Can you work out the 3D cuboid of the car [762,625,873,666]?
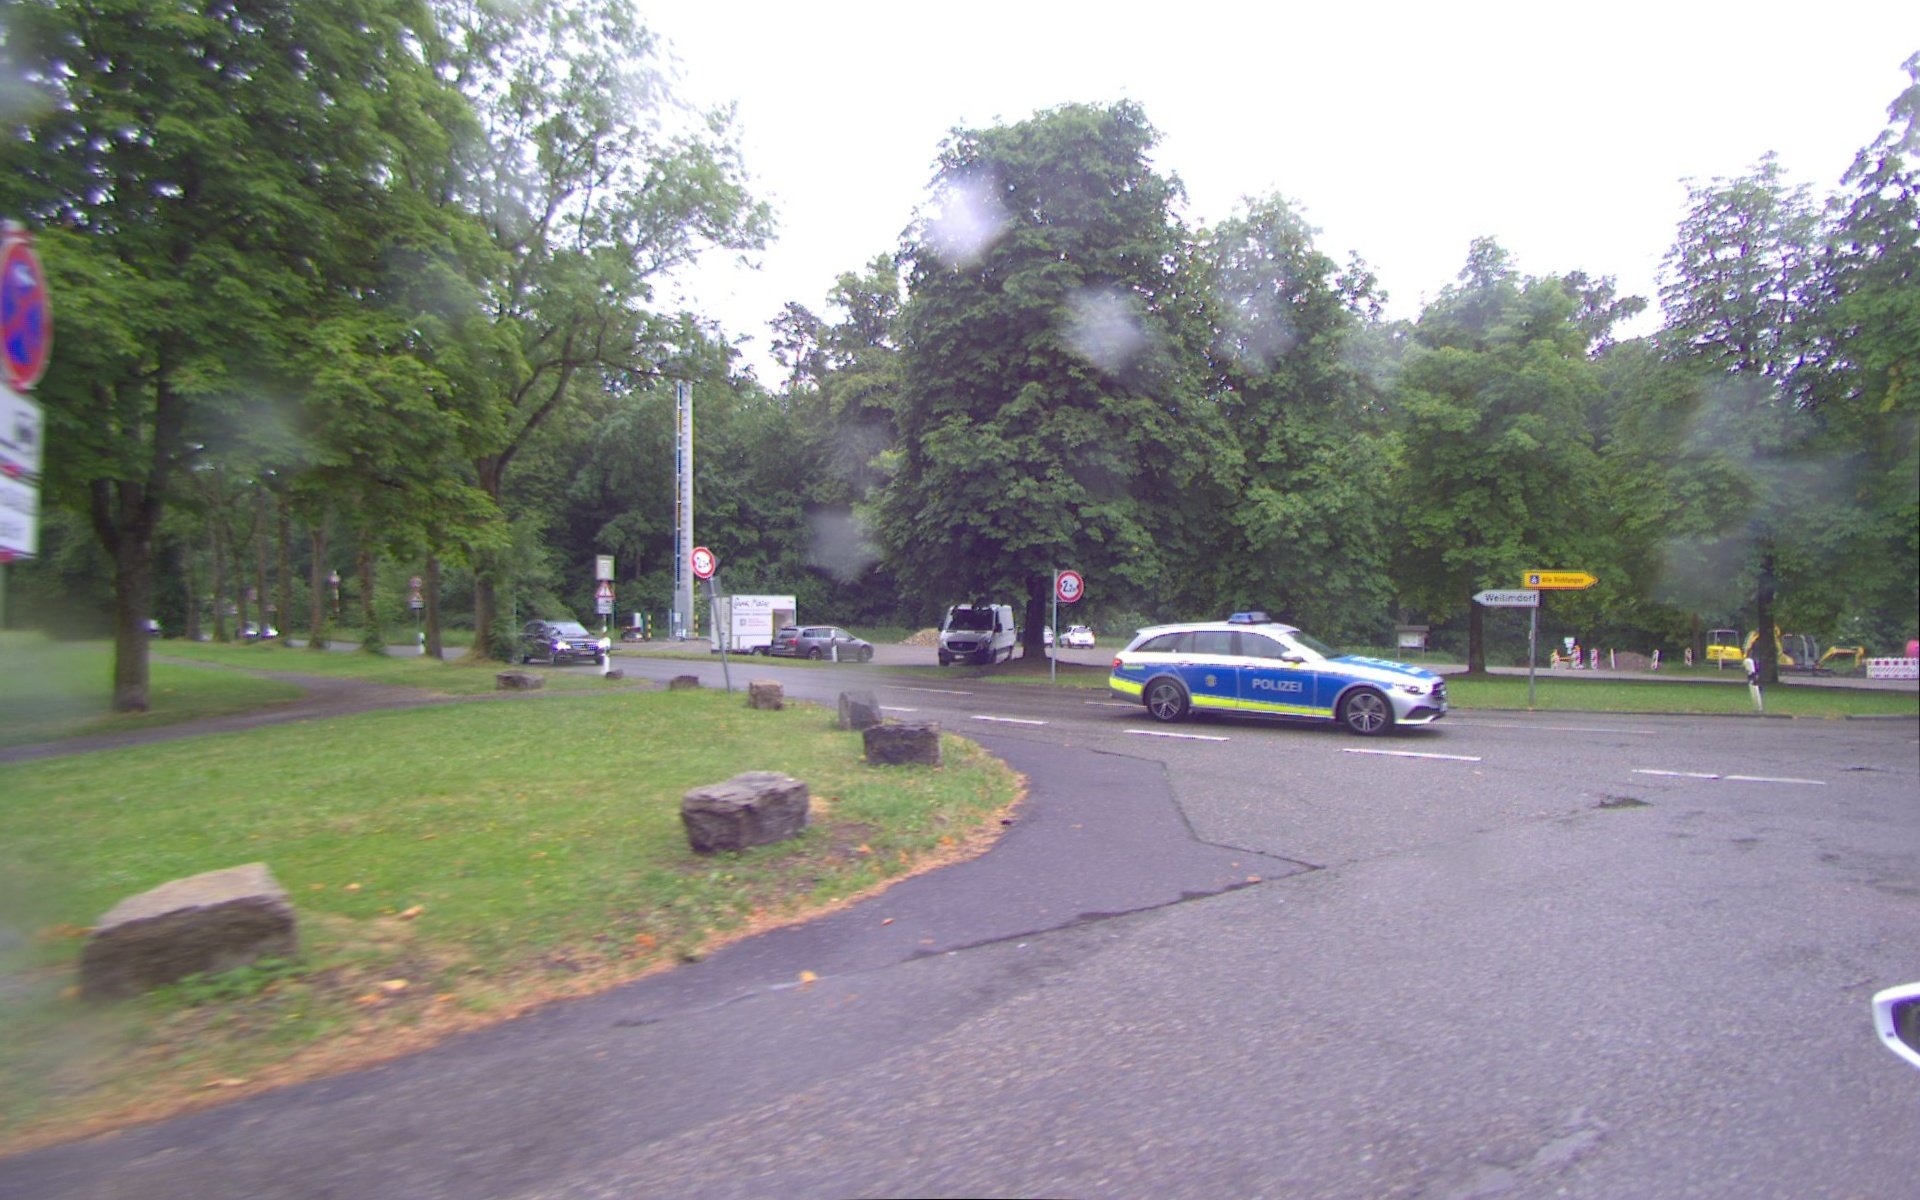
[{"bbox_3d":[-5.468,1.732,38.853,1.743,1.448,4.086,1,-1,41],"label":"car"}]

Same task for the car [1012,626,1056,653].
[{"bbox_3d":[4.846,2.577,66.526,1.964,1.606,3.992,1,-1,-10],"label":"car"}]

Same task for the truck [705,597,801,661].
[{"bbox_3d":[-8.414,1.165,40.893,3.327,2.475,1.851,2,-1,-45],"label":"truck"}]

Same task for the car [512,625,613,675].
[{"bbox_3d":[-13.400,1.632,33.763,1.720,1.502,4.123,2,-1,-44],"label":"car"}]

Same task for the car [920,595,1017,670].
[{"bbox_3d":[0.452,1.178,36.966,2.344,2.439,5.988,3,-1,12],"label":"car"}]

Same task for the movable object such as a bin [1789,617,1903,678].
[{"bbox_3d":[51.617,2.720,58.522,3.637,3.337,4.542,2,-1,-41],"label":"movable object such as a bin"}]

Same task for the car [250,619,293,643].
[{"bbox_3d":[-46.258,2.068,67.424,1.720,1.502,4.123,2,-1,-44],"label":"car"}]

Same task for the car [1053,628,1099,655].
[{"bbox_3d":[7.646,2.720,66.740,1.964,1.606,3.992,1,-1,-10],"label":"car"}]

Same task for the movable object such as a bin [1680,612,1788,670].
[{"bbox_3d":[47.807,2.487,62.067,3.883,3.337,4.615,2,-1,-41],"label":"movable object such as a bin"}]

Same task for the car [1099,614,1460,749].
[{"bbox_3d":[4.604,1.070,14.945,4.827,1.621,1.724,1,-1,39],"label":"car"}]
